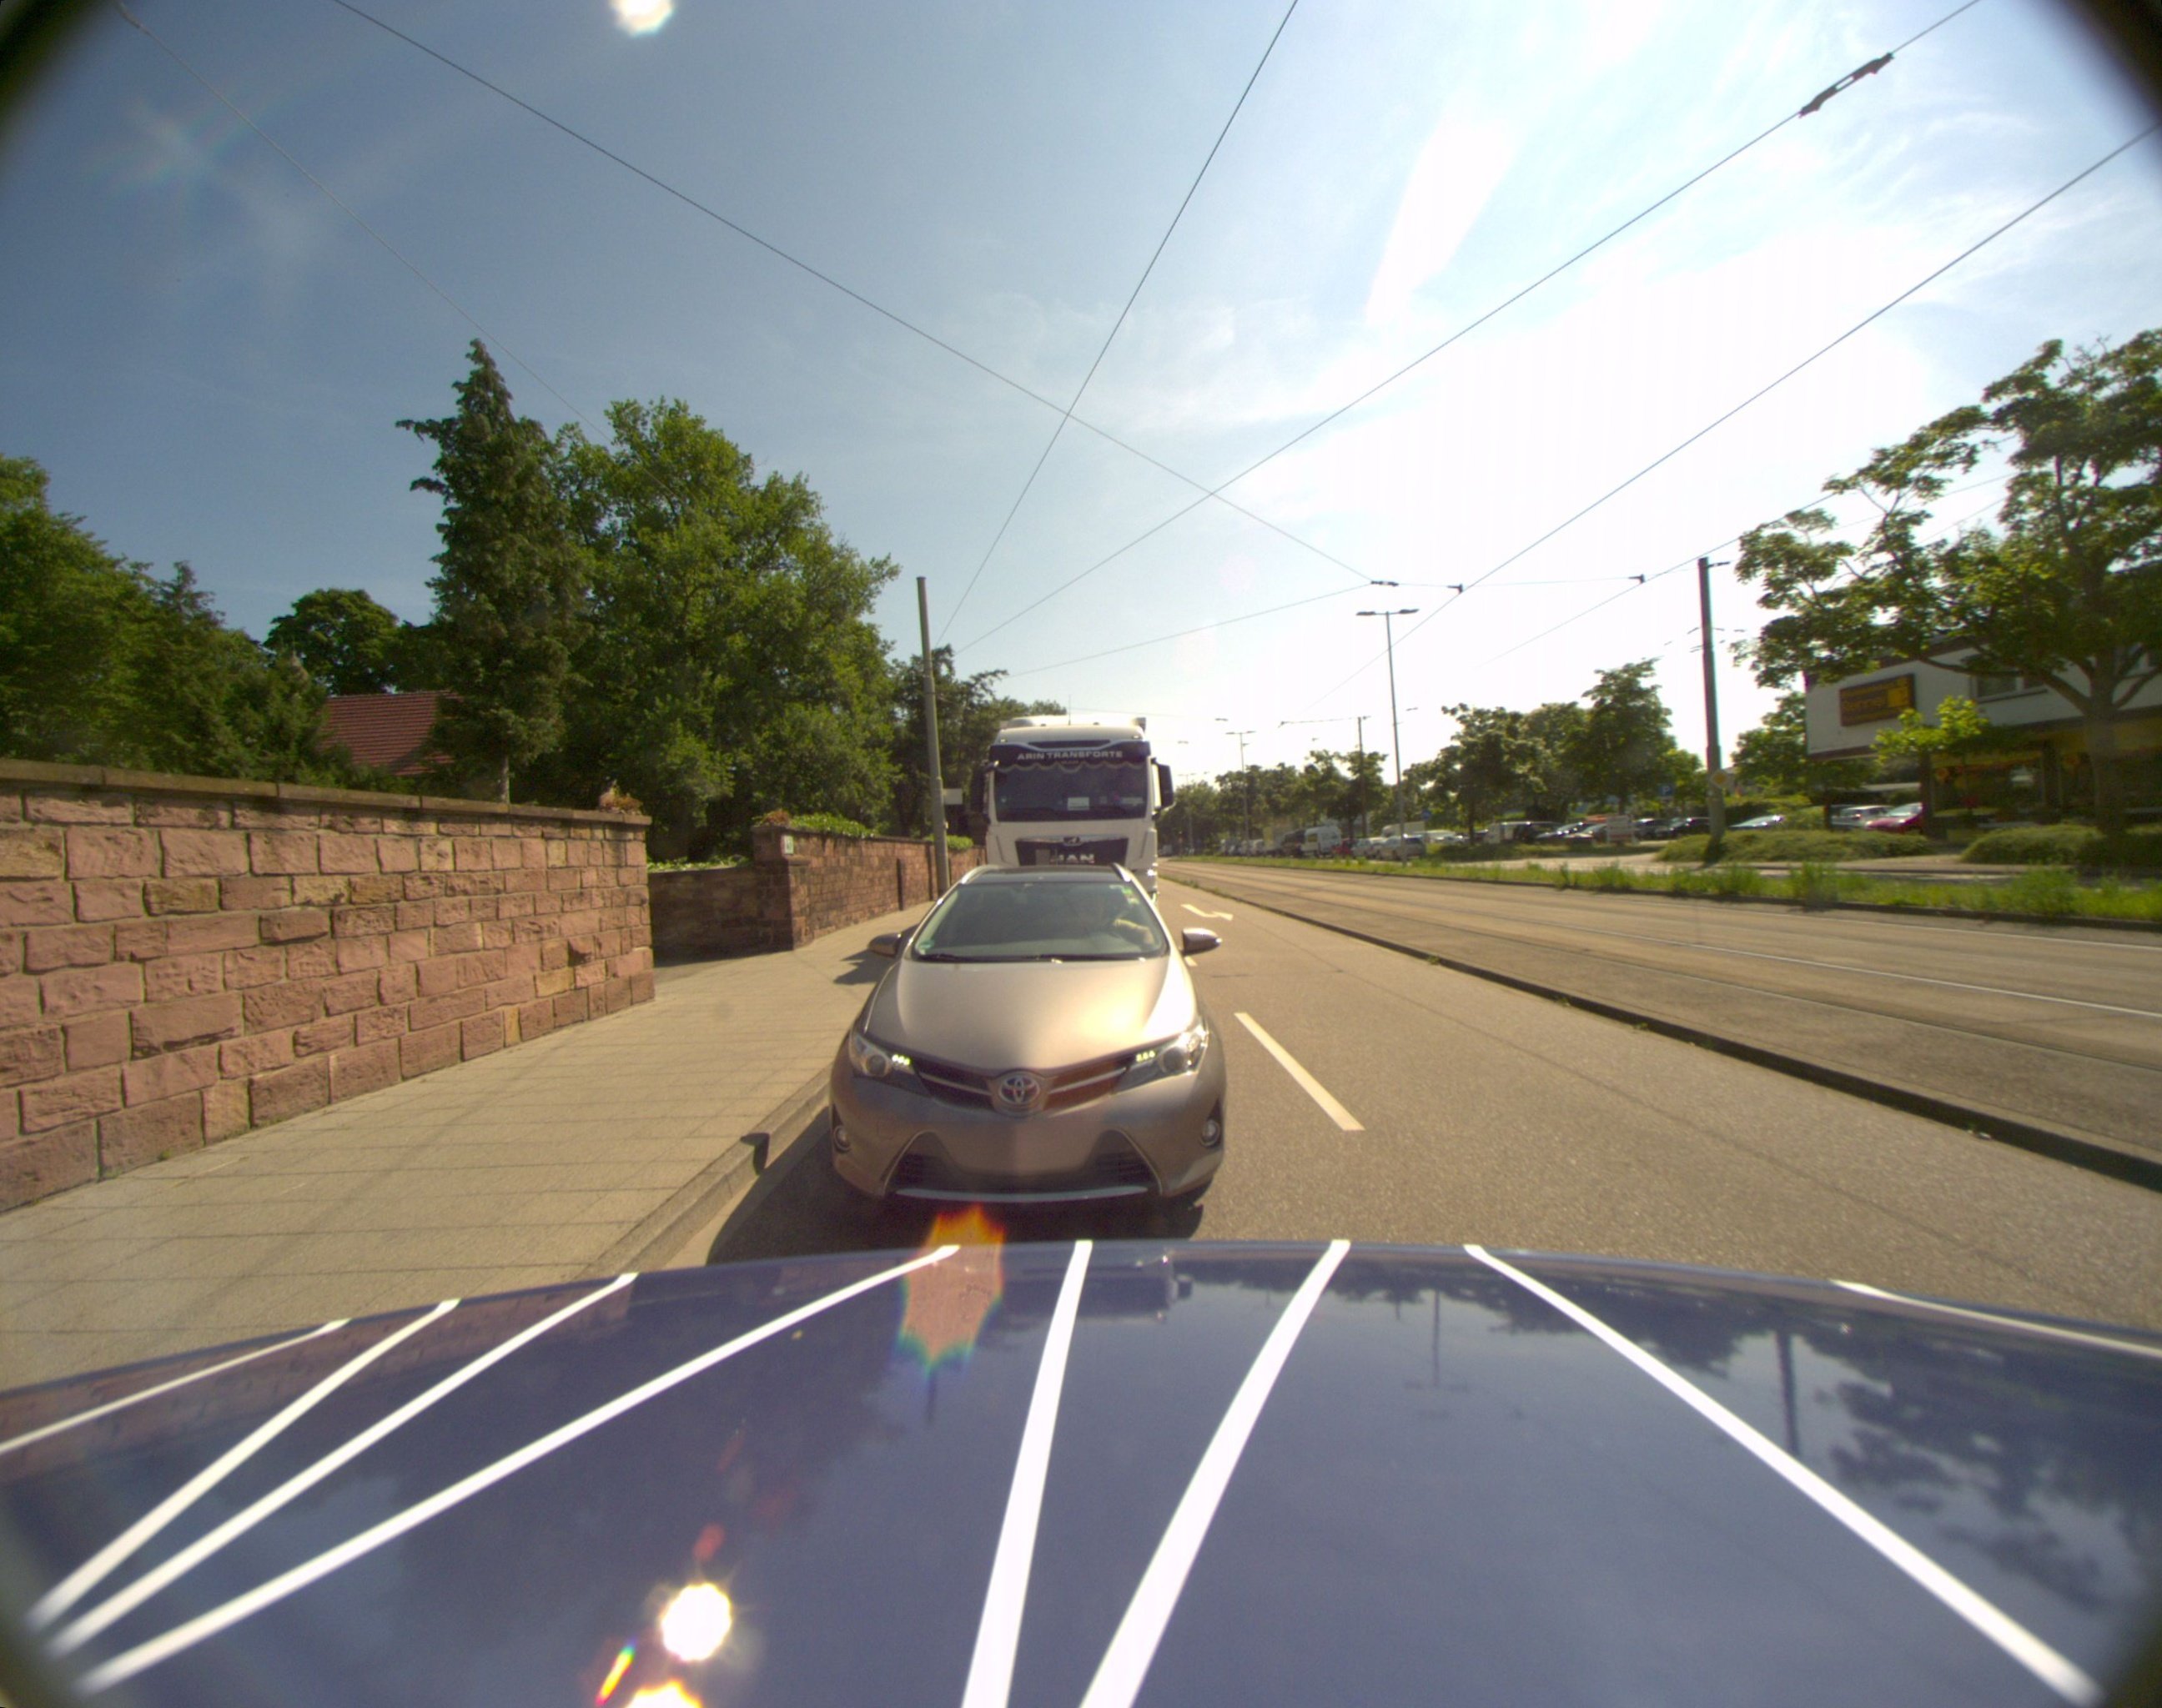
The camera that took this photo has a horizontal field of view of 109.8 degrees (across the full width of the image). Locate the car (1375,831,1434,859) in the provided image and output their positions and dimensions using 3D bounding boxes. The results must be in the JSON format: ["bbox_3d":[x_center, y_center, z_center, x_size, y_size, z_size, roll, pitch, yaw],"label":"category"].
[{"bbox_3d":[20.405,-0.540,48.121,1.892,1.486,4.285,-6,0,2],"label":"car"}]

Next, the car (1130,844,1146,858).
[{"bbox_3d":[7.821,-0.411,104.320,1.817,1.725,4.023,-2,1,10],"label":"car"}]

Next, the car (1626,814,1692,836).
[{"bbox_3d":[43.735,-2.185,57.525,3.624,1.353,1.712,-3,1,-1],"label":"car"}]

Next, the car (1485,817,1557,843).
[{"bbox_3d":[30.454,-1.645,52.661,3.749,1.560,1.951,-3,1,-1],"label":"car"}]

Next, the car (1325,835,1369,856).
[{"bbox_3d":[20.558,-0.629,58.854,1.893,1.486,4.232,-3,0,0],"label":"car"}]

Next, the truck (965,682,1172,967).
[{"bbox_3d":[-0.106,-0.435,15.036,2.746,3.852,9.110,-2,0,1],"label":"truck"}]

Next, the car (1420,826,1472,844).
[{"bbox_3d":[31.697,-1.626,66.021,3.624,1.274,1.712,-3,1,-1],"label":"car"}]

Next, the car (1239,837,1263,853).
[{"bbox_3d":[21.061,-1.091,94.289,1.893,1.757,4.232,-3,0,0],"label":"car"}]

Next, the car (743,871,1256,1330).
[{"bbox_3d":[-0.255,0.920,4.895,1.742,1.424,4.462,-2,0,1],"label":"car"}]

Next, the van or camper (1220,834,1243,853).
[{"bbox_3d":[21.186,-1.475,107.205,2.114,2.604,5.451,-2,1,1],"label":"van or camper"}]

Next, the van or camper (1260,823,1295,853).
[{"bbox_3d":[20.298,-1.613,78.739,2.128,2.967,5.281,-3,0,0],"label":"van or camper"}]

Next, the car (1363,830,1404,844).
[{"bbox_3d":[32.009,-1.800,80.475,3.624,1.274,1.712,-3,1,-1],"label":"car"}]

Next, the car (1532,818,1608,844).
[{"bbox_3d":[30.501,-1.408,47.452,3.624,1.353,1.712,-3,1,-1],"label":"car"}]

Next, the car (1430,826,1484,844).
[{"bbox_3d":[31.454,-1.589,63.579,3.624,1.274,1.712,-3,1,-1],"label":"car"}]

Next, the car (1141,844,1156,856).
[{"bbox_3d":[10.505,-0.690,117.970,1.817,1.725,4.023,-2,1,10],"label":"car"}]

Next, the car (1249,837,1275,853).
[{"bbox_3d":[20.787,-1.031,87.354,1.893,1.724,4.232,-3,0,0],"label":"car"}]

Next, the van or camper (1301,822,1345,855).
[{"bbox_3d":[20.276,-1.268,63.794,2.040,2.617,4.839,-3,0,0],"label":"van or camper"}]

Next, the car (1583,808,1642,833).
[{"bbox_3d":[43.661,-2.731,62.437,3.624,1.767,1.712,-3,1,-1],"label":"car"}]

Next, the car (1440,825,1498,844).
[{"bbox_3d":[31.046,-1.543,60.851,3.624,1.274,1.812,-3,0,-1],"label":"car"}]

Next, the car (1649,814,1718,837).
[{"bbox_3d":[43.537,-2.042,54.936,3.624,1.353,1.712,-3,1,-1],"label":"car"}]

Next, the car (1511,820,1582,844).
[{"bbox_3d":[30.705,-1.447,50.195,3.624,1.353,1.712,-3,1,-1],"label":"car"}]

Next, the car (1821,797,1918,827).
[{"bbox_3d":[43.792,-2.301,42.238,3.624,1.353,1.712,-3,1,-1],"label":"car"}]

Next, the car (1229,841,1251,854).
[{"bbox_3d":[20.925,-0.903,100.294,1.893,1.551,4.232,-3,0,0],"label":"car"}]

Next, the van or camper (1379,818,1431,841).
[{"bbox_3d":[44.869,-3.390,105.377,6.081,2.715,2.299,-3,1,3],"label":"van or camper"}]

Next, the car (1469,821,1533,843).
[{"bbox_3d":[30.382,-1.584,54.988,3.624,1.277,1.712,-3,1,-1],"label":"car"}]

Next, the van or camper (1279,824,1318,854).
[{"bbox_3d":[20.223,-1.346,70.850,2.040,2.617,4.839,-3,0,0],"label":"van or camper"}]

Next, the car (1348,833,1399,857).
[{"bbox_3d":[20.540,-0.635,53.596,1.893,1.551,4.285,-3,0,0],"label":"car"}]
